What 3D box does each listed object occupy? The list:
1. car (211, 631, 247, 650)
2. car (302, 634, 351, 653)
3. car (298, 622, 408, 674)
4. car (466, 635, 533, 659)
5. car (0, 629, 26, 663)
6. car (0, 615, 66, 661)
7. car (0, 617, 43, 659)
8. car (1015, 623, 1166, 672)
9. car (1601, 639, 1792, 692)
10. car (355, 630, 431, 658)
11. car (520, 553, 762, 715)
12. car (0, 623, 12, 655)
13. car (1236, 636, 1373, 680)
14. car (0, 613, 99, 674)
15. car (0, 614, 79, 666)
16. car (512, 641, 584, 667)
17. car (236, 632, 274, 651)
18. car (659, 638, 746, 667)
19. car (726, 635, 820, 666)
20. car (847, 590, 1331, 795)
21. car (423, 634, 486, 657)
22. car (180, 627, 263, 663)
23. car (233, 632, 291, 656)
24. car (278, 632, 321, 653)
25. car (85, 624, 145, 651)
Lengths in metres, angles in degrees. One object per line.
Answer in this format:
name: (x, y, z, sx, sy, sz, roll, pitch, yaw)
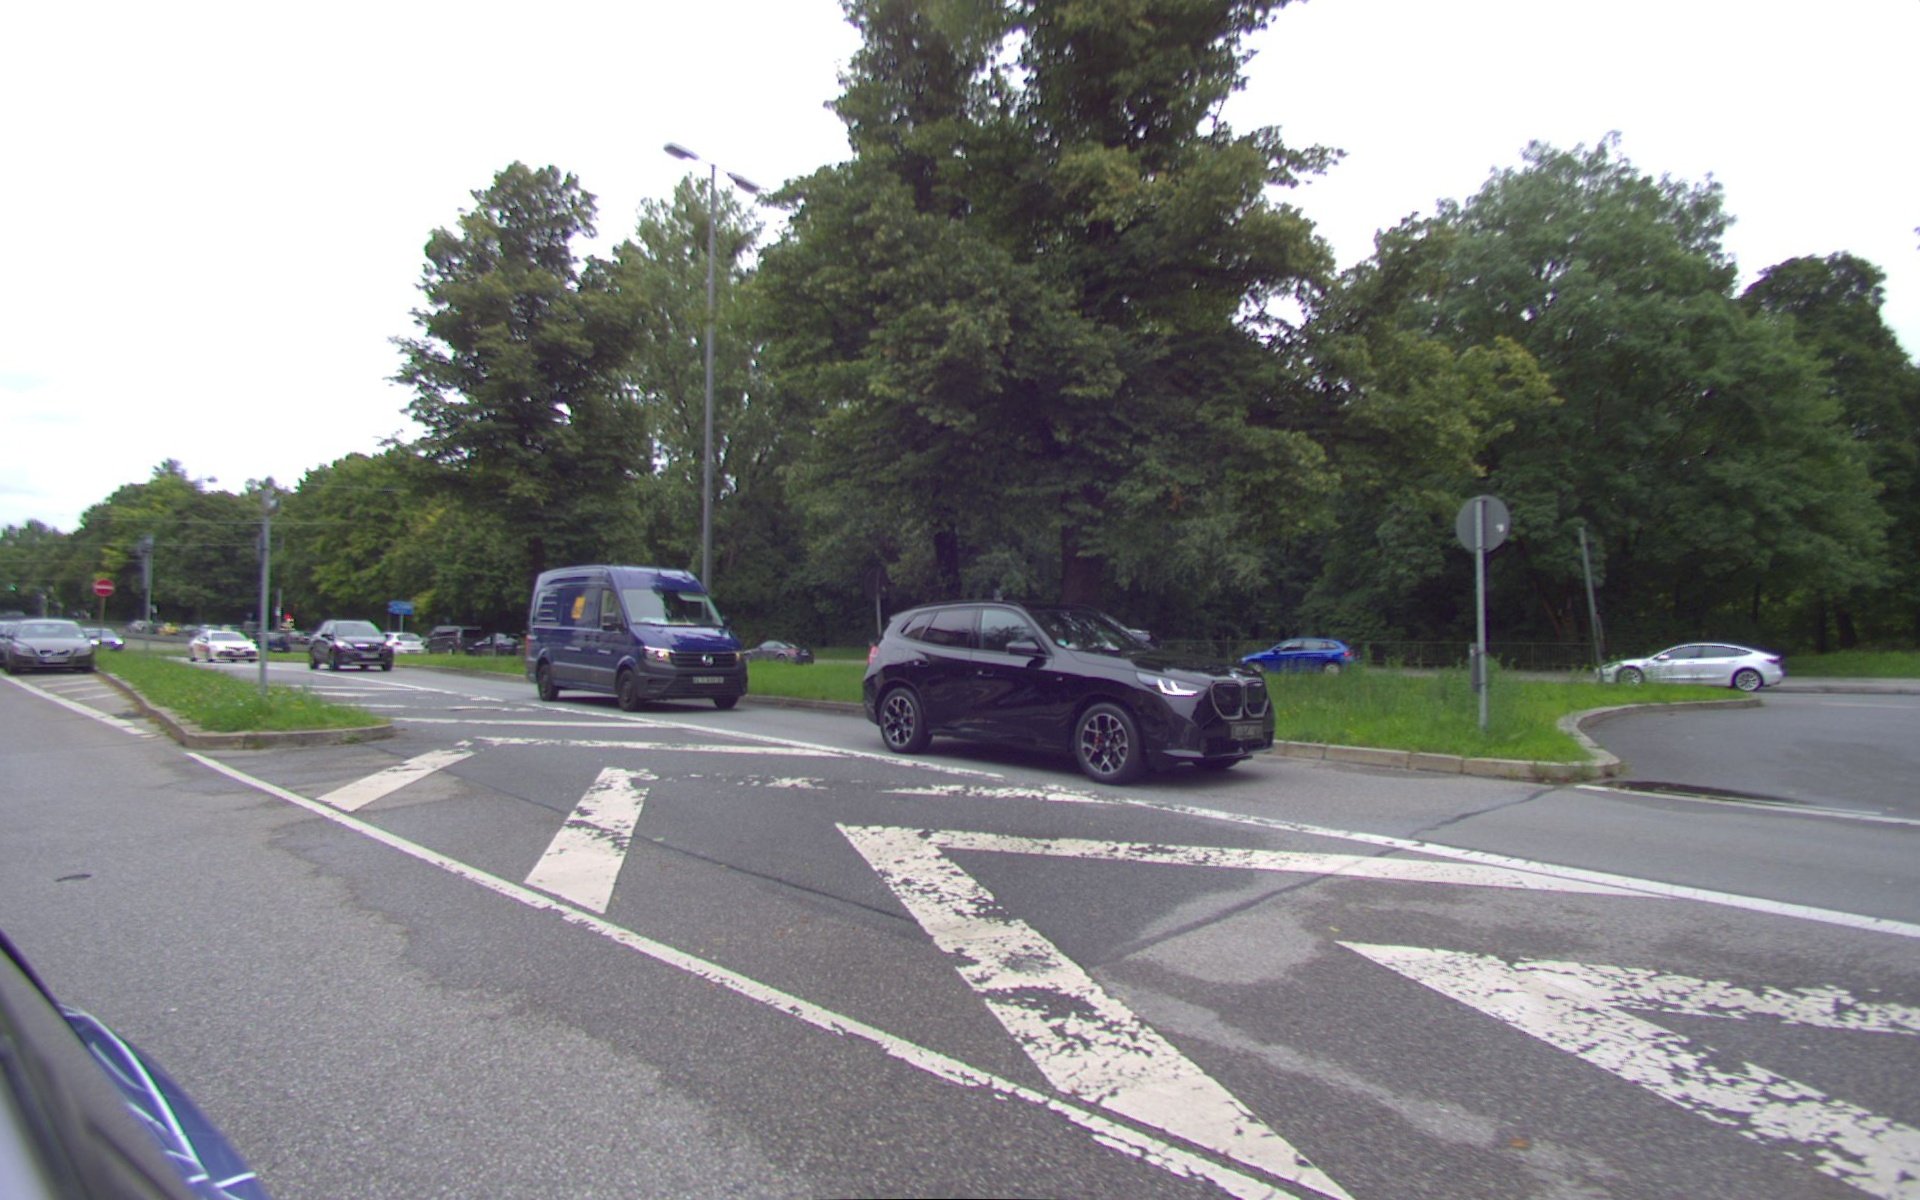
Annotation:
car: (-70.858, 3.927, 98.048, 3.996, 1.759, 1.842, -1, -2, 40)
car: (-52.220, 3.587, 83.415, 4.309, 1.457, 1.976, -1, -4, 36)
car: (-20.226, 1.562, 33.658, 4.273, 1.640, 1.965, -1, -3, 43)
car: (-29.743, 3.039, 65.312, 4.517, 1.457, 1.975, -1, -4, 36)
car: (-41.077, 1.932, 42.779, 4.279, 1.380, 1.744, -1, -3, 40)
car: (-33.913, 1.349, 36.517, 4.282, 1.577, 1.966, -1, -3, 42)
car: (-37.433, 1.461, 39.611, 4.283, 1.577, 1.965, -2, -3, 44)
car: (4.099, 1.490, 31.886, 4.371, 1.457, 1.878, -1, -3, 30)
car: (21.999, 1.946, 30.496, 4.405, 1.457, 1.980, -1, -3, 29)
car: (-30.296, 2.353, 54.055, 4.224, 1.457, 1.812, -1, -4, 33)
car: (-6.015, 0.574, 18.485, 2.156, 2.482, 5.862, 2, -2, -39)
car: (-45.766, 1.786, 46.873, 4.275, 1.467, 1.969, -1, -3, 37)
car: (12.356, 2.061, 36.368, 4.405, 1.457, 1.980, -1, -3, 29)
car: (-25.923, 1.212, 28.719, 1.877, 1.577, 4.773, 3, -3, -44)
car: (-30.249, 1.282, 33.019, 1.964, 1.577, 4.285, 3, -3, -44)
car: (-25.316, 3.304, 62.107, 4.517, 1.457, 1.975, -1, -4, 36)
car: (-65.345, 3.814, 93.760, 3.996, 1.759, 1.861, -1, -2, 40)
car: (-13.534, 2.731, 53.090, 4.517, 1.457, 1.975, -1, -4, 36)
car: (-9.241, 2.475, 49.905, 4.517, 1.457, 1.975, -1, -4, 36)
car: (1.058, 0.831, 10.361, 1.890, 1.598, 4.836, 5, -5, -42)
car: (-34.751, 3.107, 69.539, 4.698, 1.546, 1.975, -1, -4, 36)
car: (-34.209, 2.053, 46.867, 4.649, 1.577, 1.967, -1, -3, 39)
car: (-45.169, 2.837, 65.483, 4.025, 1.457, 1.874, -2, -3, 36)
car: (-56.921, 3.638, 87.197, 3.996, 1.759, 1.973, -1, -2, 40)
car: (-51.815, 2.288, 62.045, 4.268, 1.577, 1.968, -1, -3, 38)
